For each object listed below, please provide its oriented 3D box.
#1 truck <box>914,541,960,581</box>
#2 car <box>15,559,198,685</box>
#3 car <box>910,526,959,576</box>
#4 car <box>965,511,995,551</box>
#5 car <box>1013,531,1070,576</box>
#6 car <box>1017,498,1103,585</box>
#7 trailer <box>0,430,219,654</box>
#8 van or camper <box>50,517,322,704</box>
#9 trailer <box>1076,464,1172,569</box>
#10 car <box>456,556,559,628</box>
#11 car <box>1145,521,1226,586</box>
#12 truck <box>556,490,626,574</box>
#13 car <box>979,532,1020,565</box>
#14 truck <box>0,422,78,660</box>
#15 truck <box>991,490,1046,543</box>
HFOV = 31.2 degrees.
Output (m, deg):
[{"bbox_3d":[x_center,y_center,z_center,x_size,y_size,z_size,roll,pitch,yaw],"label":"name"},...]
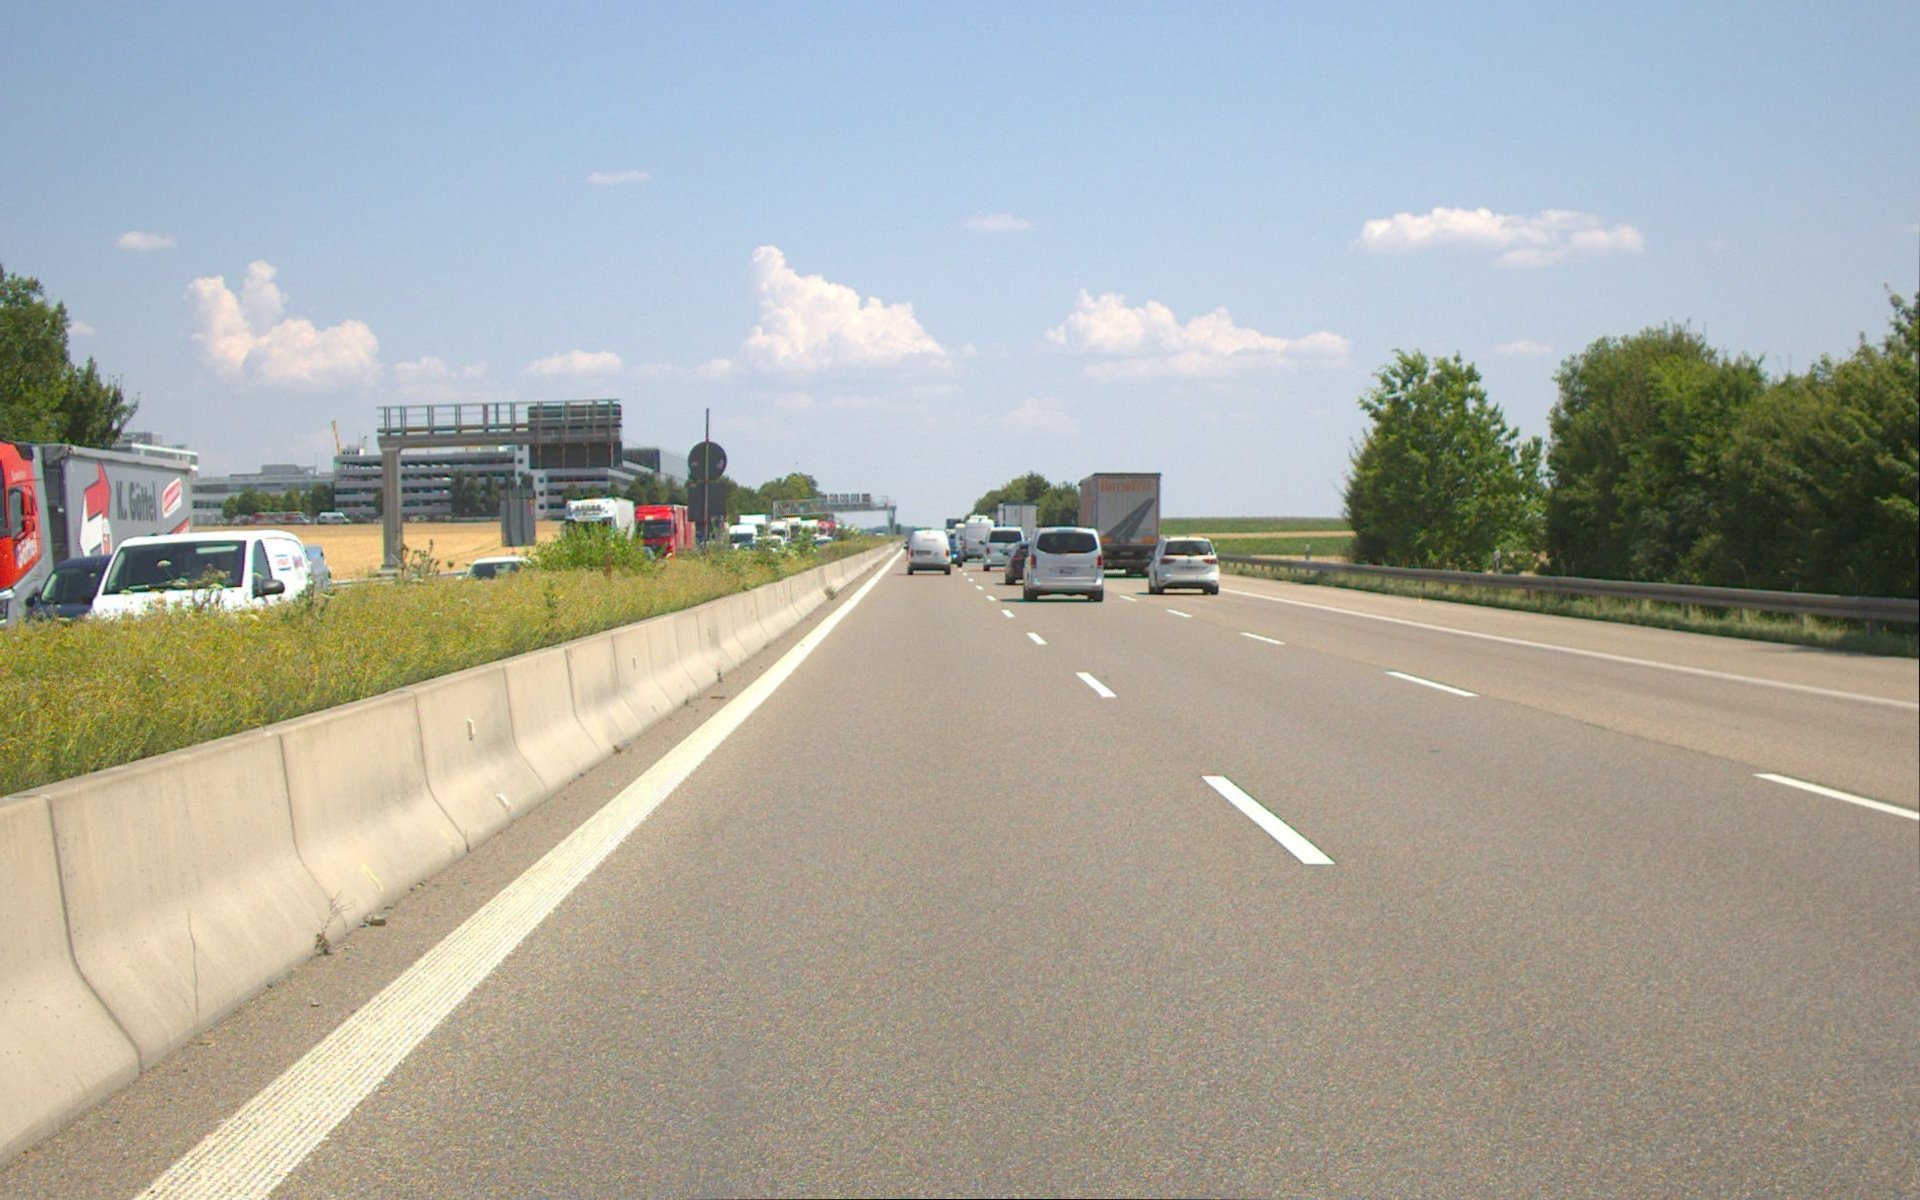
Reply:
[{"bbox_3d":[-1.189,-2.005,176.540,2.211,2.007,4.972,-1,1,-1],"label":"truck"},{"bbox_3d":[-12.468,0.284,50.470,1.694,1.721,4.262,-1,1,-1],"label":"car"},{"bbox_3d":[-1.073,-2.014,142.059,1.993,2.007,4.000,0,0,-1],"label":"car"},{"bbox_3d":[1.217,-4.197,209.983,1.773,2.384,4.000,0,0,-1],"label":"car"},{"bbox_3d":[2.723,-1.548,115.276,1.773,1.442,4.000,0,0,-1],"label":"car"},{"bbox_3d":[2.503,-1.452,86.768,1.993,2.112,4.000,0,0,-1],"label":"car"},{"bbox_3d":[-16.878,-1.084,65.622,2.856,3.842,12.186,-2,1,-1],"label":"trailer"},{"bbox_3d":[-8.624,0.064,38.770,1.993,1.926,5.202,-1,1,-1],"label":"van or camper"},{"bbox_3d":[6.459,-3.247,137.081,3.277,3.953,9.113,0,0,-1],"label":"trailer"},{"bbox_3d":[-9.396,-0.192,71.616,1.694,1.412,3.815,-1,1,-1],"label":"car"},{"bbox_3d":[6.383,-1.306,97.783,1.993,1.788,4.000,0,0,-1],"label":"car"},{"bbox_3d":[-18.891,-3.503,176.400,2.950,4.143,5.472,-2,1,-1],"label":"truck"},{"bbox_3d":[1.770,-2.341,156.786,1.773,1.442,4.000,0,0,-1],"label":"car"},{"bbox_3d":[-16.753,-0.939,57.545,2.856,3.842,4.000,-2,1,-1],"label":"truck"},{"bbox_3d":[4.419,-6.304,260.527,3.815,3.891,9.581,-1,1,-1],"label":"truck"}]
